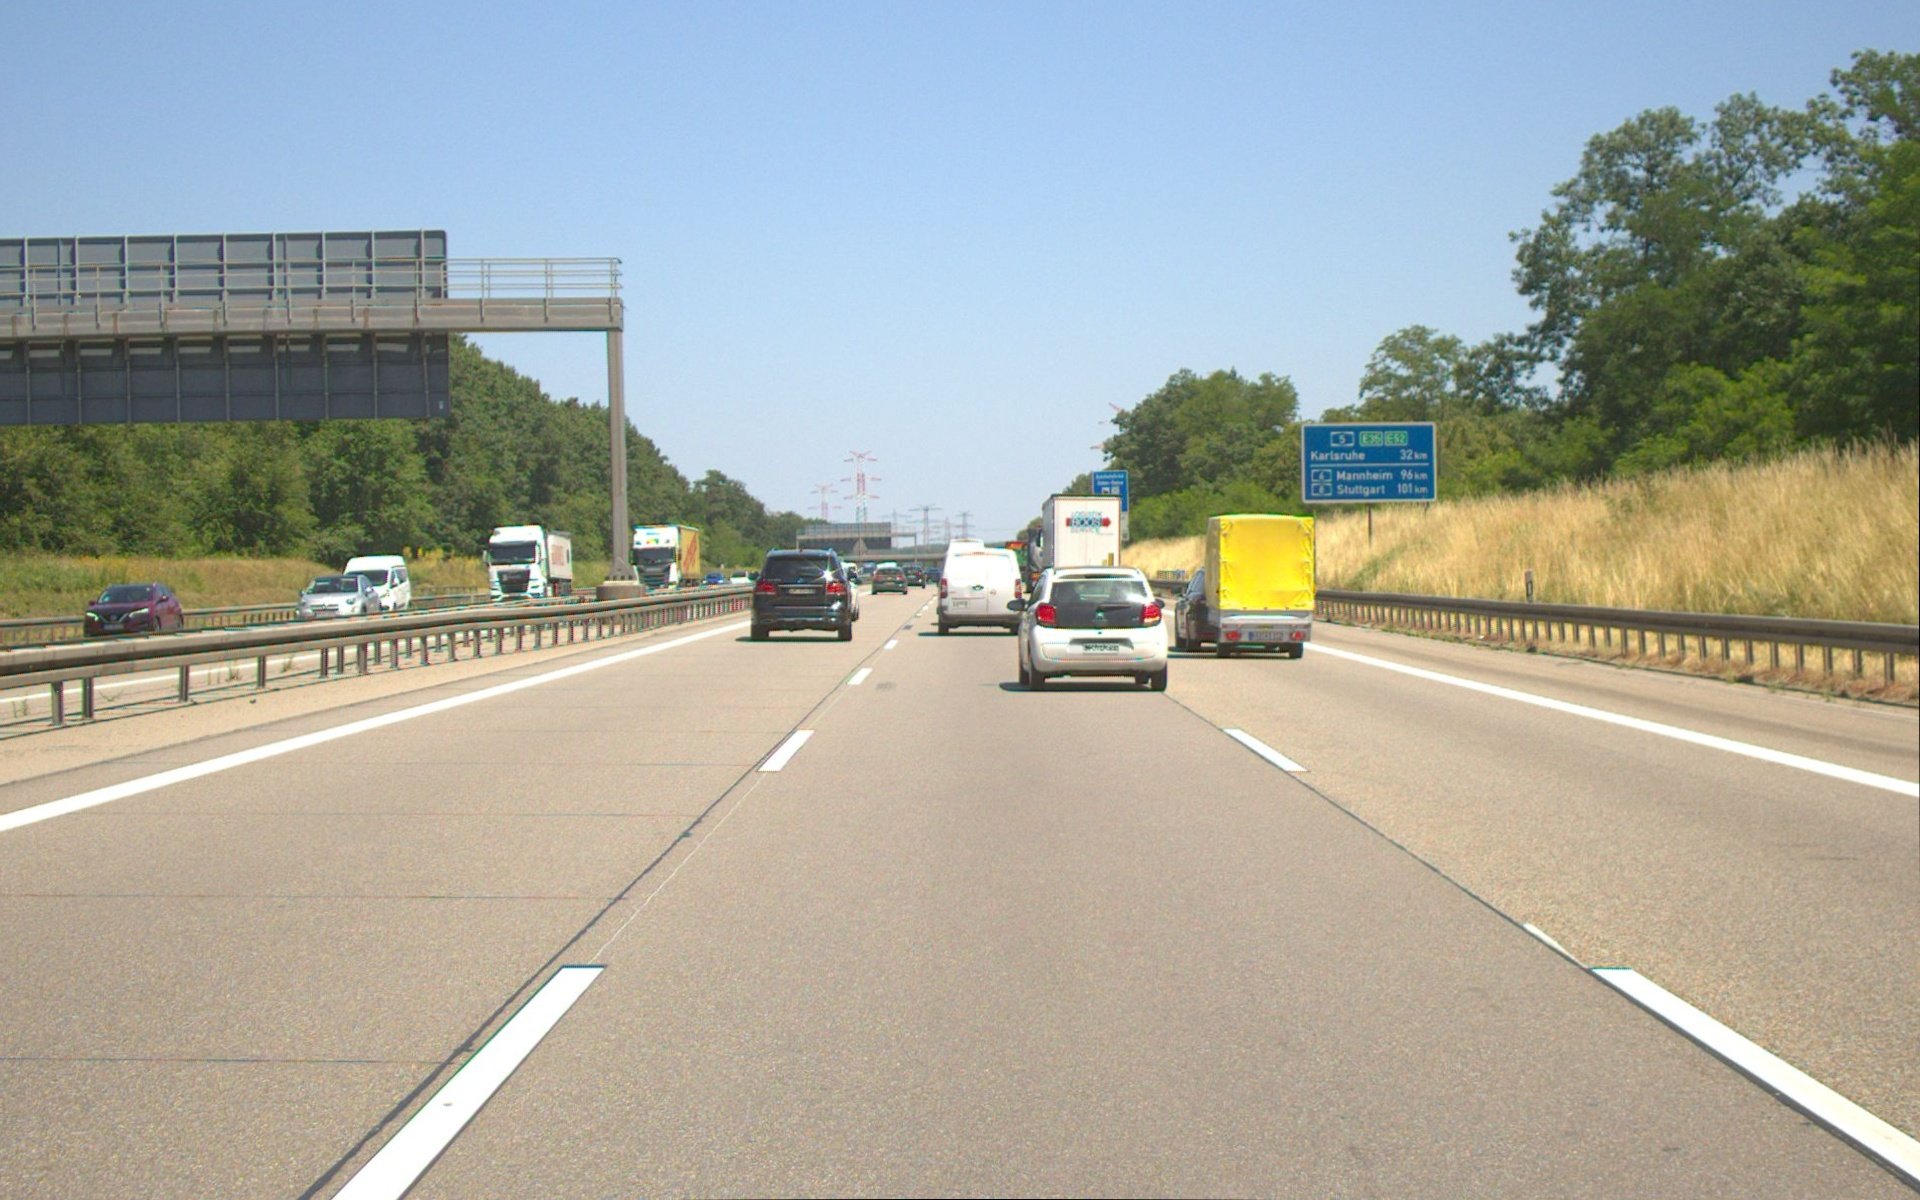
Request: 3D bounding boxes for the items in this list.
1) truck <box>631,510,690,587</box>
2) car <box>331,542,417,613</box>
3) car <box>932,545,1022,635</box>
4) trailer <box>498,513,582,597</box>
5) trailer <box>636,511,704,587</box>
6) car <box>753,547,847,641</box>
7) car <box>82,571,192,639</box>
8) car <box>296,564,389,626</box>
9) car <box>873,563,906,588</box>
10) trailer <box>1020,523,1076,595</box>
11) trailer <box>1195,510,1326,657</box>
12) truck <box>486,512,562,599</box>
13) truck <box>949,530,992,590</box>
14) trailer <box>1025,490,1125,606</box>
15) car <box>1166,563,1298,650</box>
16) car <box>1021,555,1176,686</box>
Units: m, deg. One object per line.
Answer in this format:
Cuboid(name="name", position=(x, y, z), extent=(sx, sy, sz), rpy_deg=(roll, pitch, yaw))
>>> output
Cuboid(name="truck", position=(-16.488, -2.851, 189.719), extent=(2.464, 4.059, 6.287), rpy_deg=(-3, 1, 0))
Cuboid(name="car", position=(-20.680, -0.812, 121.467), extent=(1.987, 2.332, 5.810), rpy_deg=(-3, 1, -1))
Cuboid(name="car", position=(0.336, -0.222, 72.931), extent=(1.814, 1.821, 5.111), rpy_deg=(-1, 0, 0))
Cuboid(name="trailer", position=(-20.936, -2.245, 171.983), extent=(2.625, 3.935, 11.158), rpy_deg=(-3, 1, 0))
Cuboid(name="trailer", position=(-16.497, -2.935, 196.578), extent=(2.464, 4.059, 14.280), rpy_deg=(-3, 1, 0))
Cuboid(name="car", position=(-3.057, -0.136, 66.210), extent=(1.626, 1.749, 3.805), rpy_deg=(0, 1, 0))
Cuboid(name="car", position=(-21.004, 0.098, 87.904), extent=(1.646, 1.585, 4.612), rpy_deg=(-3, 1, 0))
Cuboid(name="car", position=(-16.511, -0.154, 92.076), extent=(1.646, 1.494, 4.561), rpy_deg=(-3, 1, -1))
Cuboid(name="car", position=(-3.568, -1.256, 175.168), extent=(1.607, 1.296, 3.674), rpy_deg=(0, 1, 0))
Cuboid(name="trailer", position=(4.843, -2.230, 191.162), extent=(2.682, 3.824, 12.010), rpy_deg=(1, 0, 0))
Cuboid(name="trailer", position=(4.800, -0.277, 55.416), extent=(1.703, 2.282, 3.840), rpy_deg=(0, 1, -1))
Cuboid(name="truck", position=(-20.941, -2.144, 165.442), extent=(2.625, 3.935, 6.483), rpy_deg=(-3, 1, 0))
Cuboid(name="truck", position=(0.516, -1.996, 173.468), extent=(2.060, 2.904, 7.003), rpy_deg=(-1, 0, 0))
Cuboid(name="trailer", position=(4.339, -1.923, 132.613), extent=(3.286, 4.205, 13.565), rpy_deg=(1, 0, 0))
Cuboid(name="car", position=(4.677, 0.087, 59.731), extent=(1.821, 1.451, 4.789), rpy_deg=(0, 1, -1))
Cuboid(name="car", position=(1.614, 0.212, 41.270), extent=(1.708, 1.490, 4.024), rpy_deg=(0, 1, 0))
